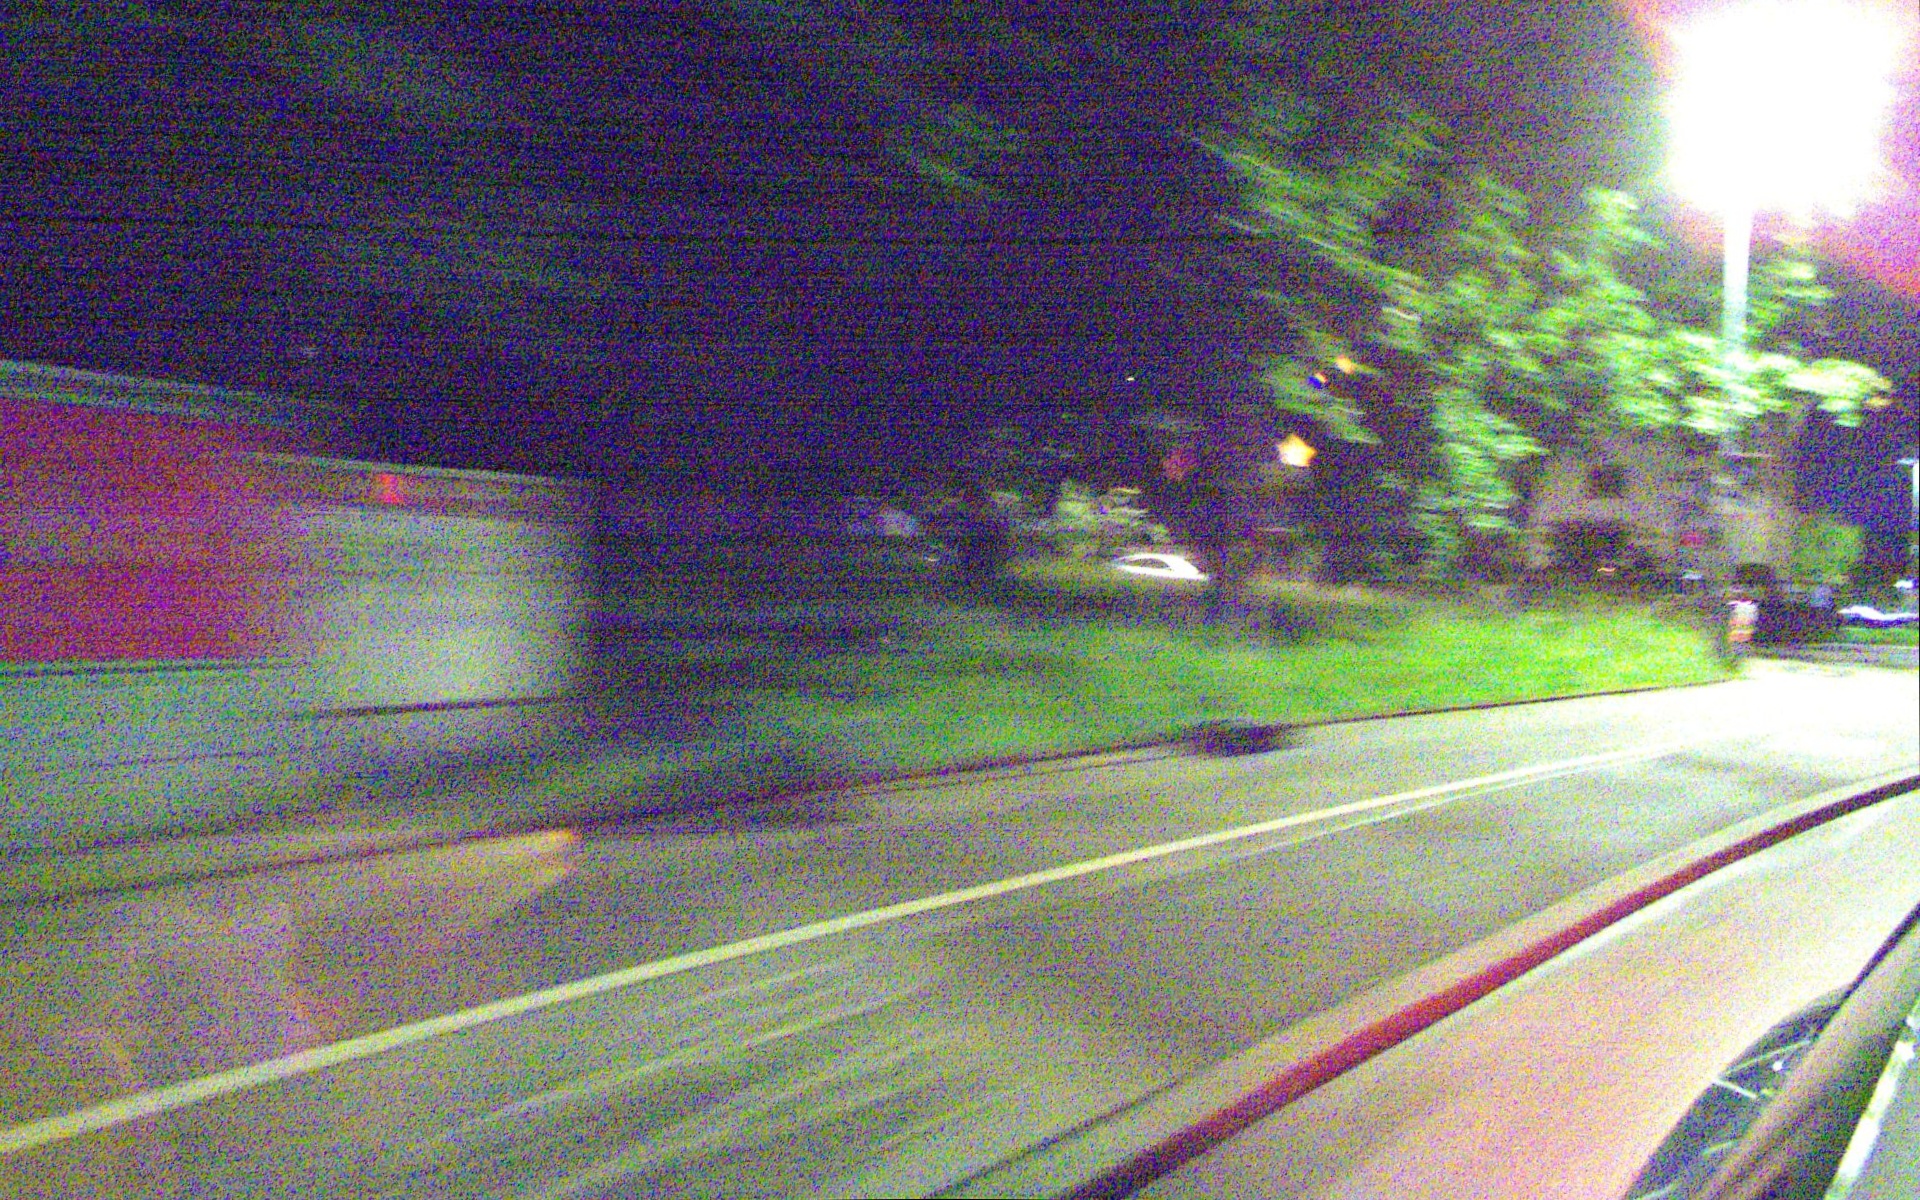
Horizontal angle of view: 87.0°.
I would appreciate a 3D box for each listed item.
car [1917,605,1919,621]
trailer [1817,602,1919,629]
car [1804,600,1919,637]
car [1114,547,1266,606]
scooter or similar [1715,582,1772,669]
[{"bbox_3d":[98.445,1.320,102.103,2.109,1.567,4.420,-1,0,35],"label":"car"},{"bbox_3d":[36.210,0.606,40.032,3.425,1.015,1.927,0,0,38],"label":"trailer"},{"bbox_3d":[33.120,0.659,36.992,3.382,1.247,1.702,1,0,37],"label":"car"},{"bbox_3d":[6.749,-0.738,29.908,3.886,1.470,1.918,6,5,41],"label":"car"},{"bbox_3d":[12.441,0.374,16.092,0.610,1.297,1.668,2,2,36],"label":"scooter or similar"}]
